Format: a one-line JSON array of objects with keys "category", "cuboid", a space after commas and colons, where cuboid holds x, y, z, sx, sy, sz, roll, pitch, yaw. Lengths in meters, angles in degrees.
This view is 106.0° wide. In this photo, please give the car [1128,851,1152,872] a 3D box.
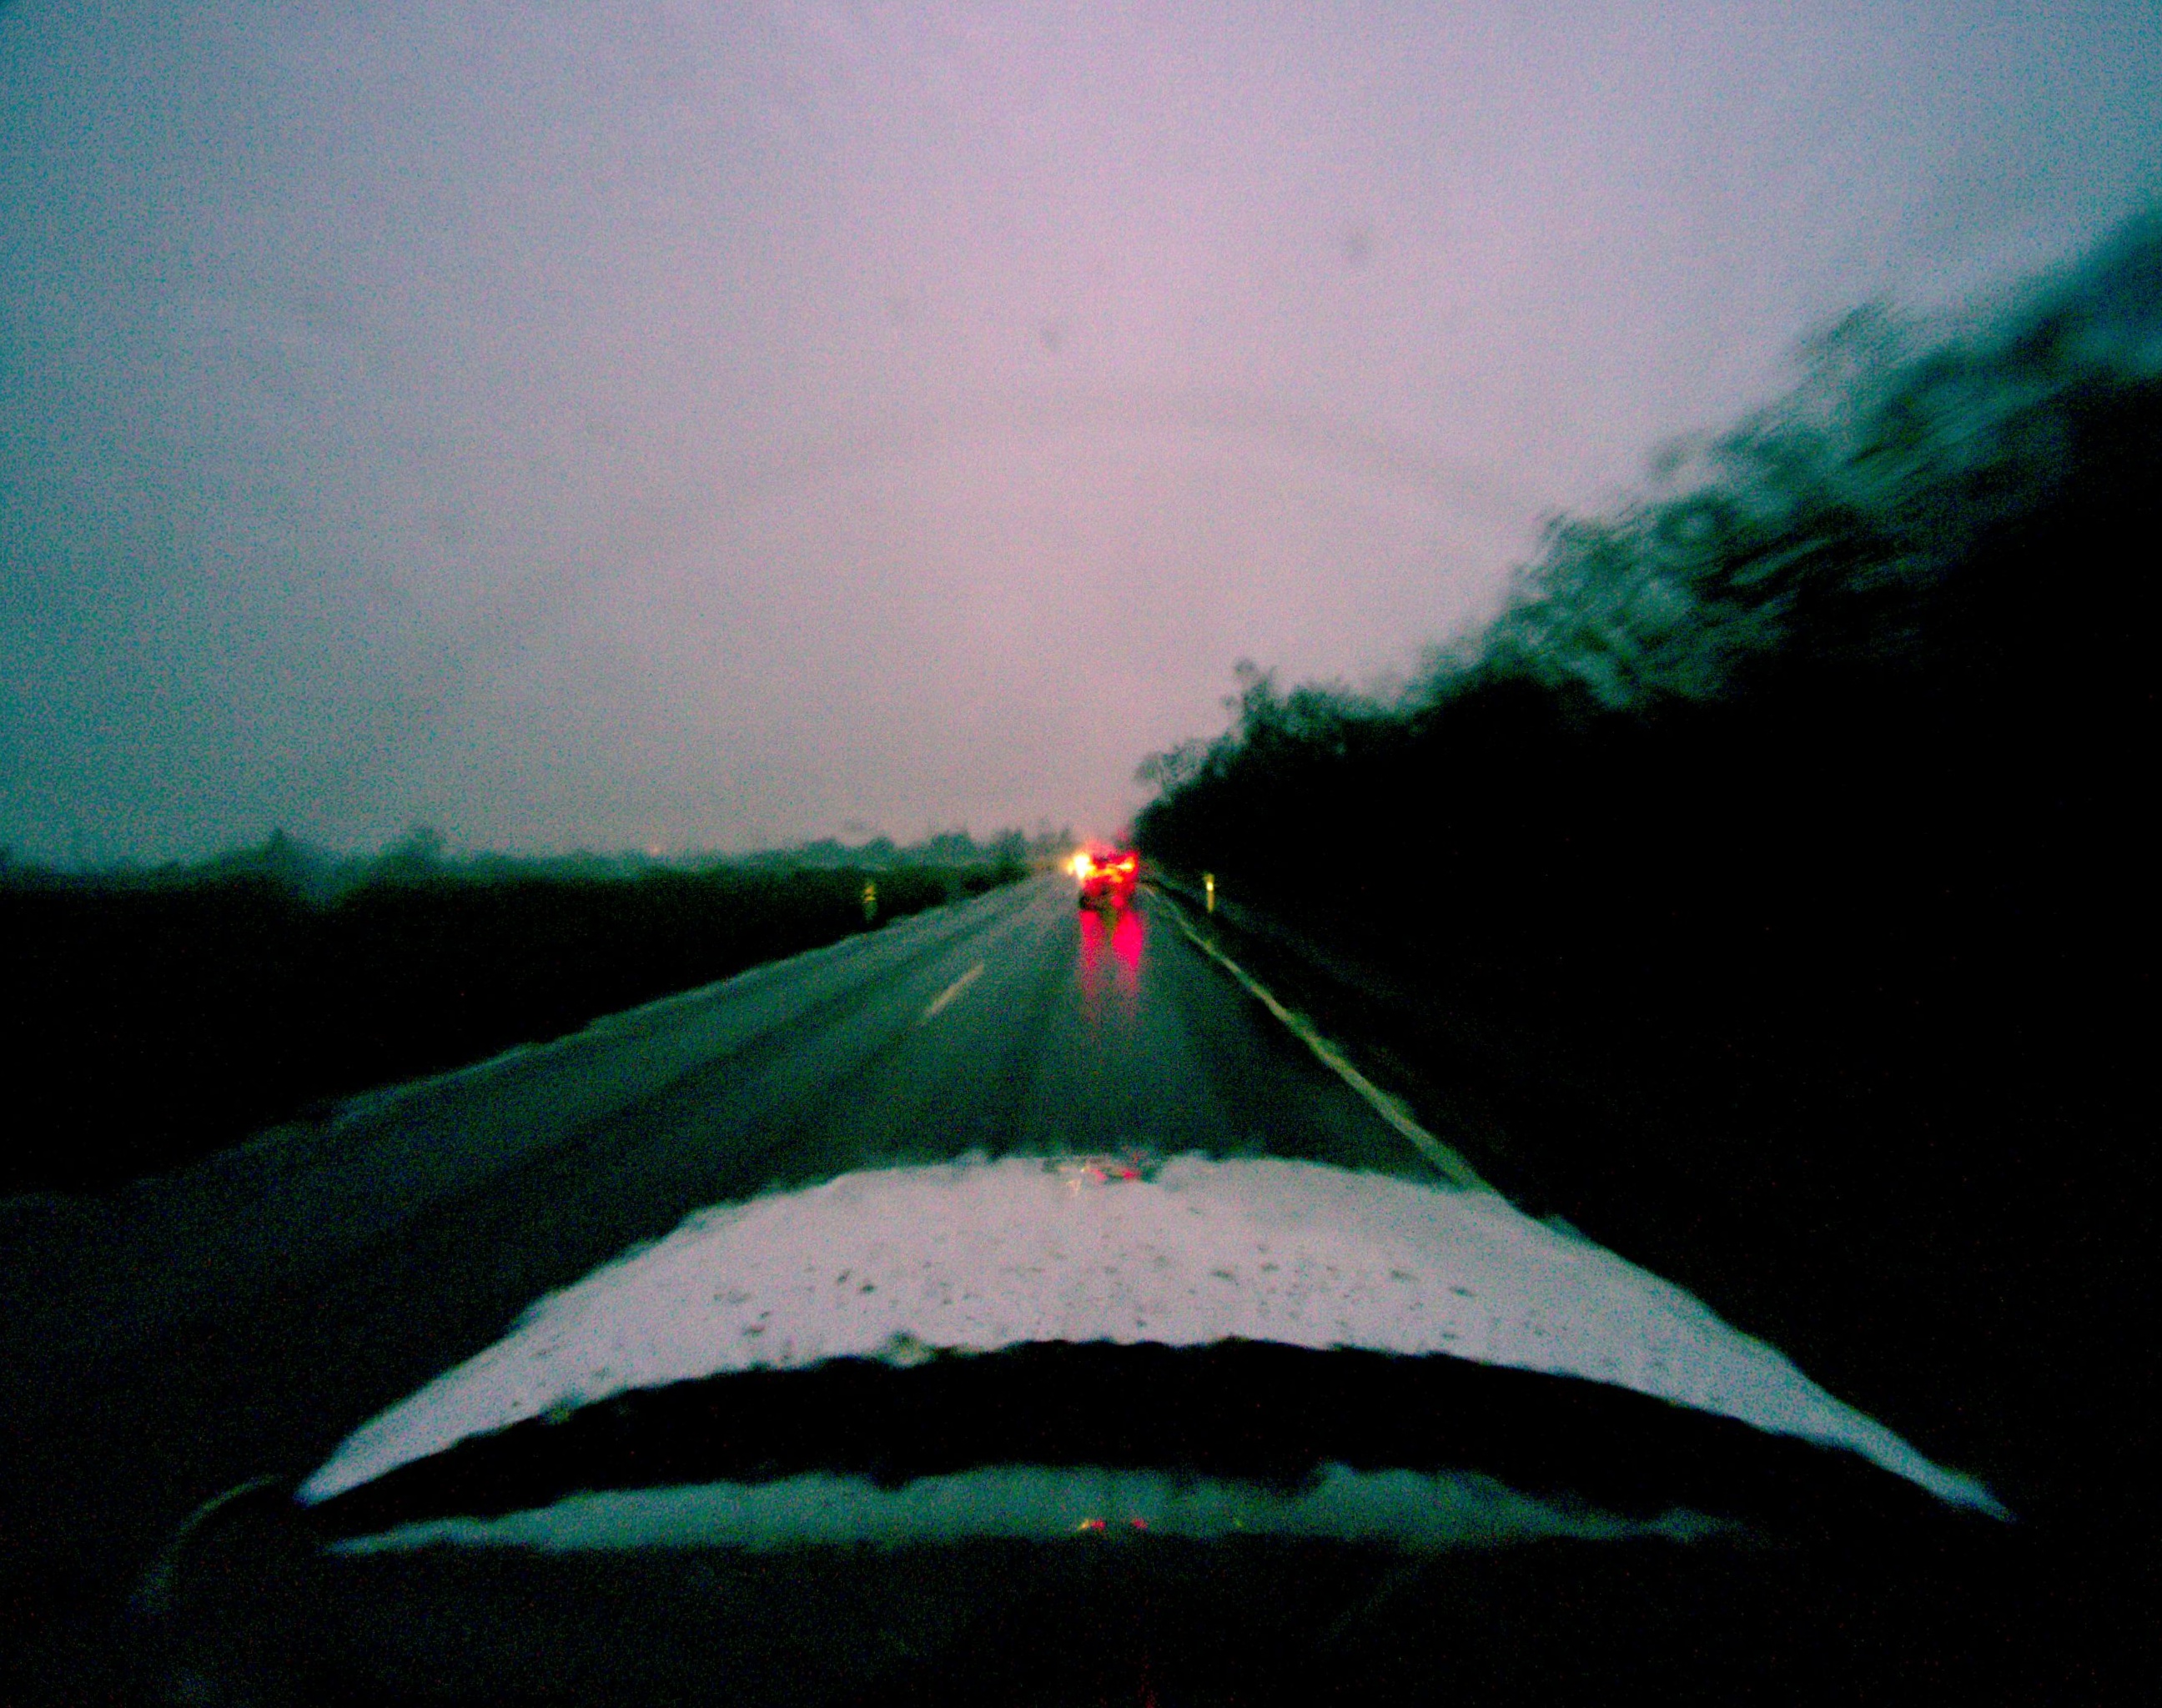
[{"category": "car", "cuboid": [5.237, 0.665, 72.377, 1.921, 1.750, 4.001, 0, 0, 1]}]

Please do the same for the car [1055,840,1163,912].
[{"category": "car", "cuboid": [0.945, 0.650, 27.773, 3.153, 2.035, 6.854, -2, 0, 2]}]

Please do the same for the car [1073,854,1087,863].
[{"category": "car", "cuboid": [-0.132, 0.690, 126.232, 1.986, 1.372, 4.399, 0, 0, 1]}]
